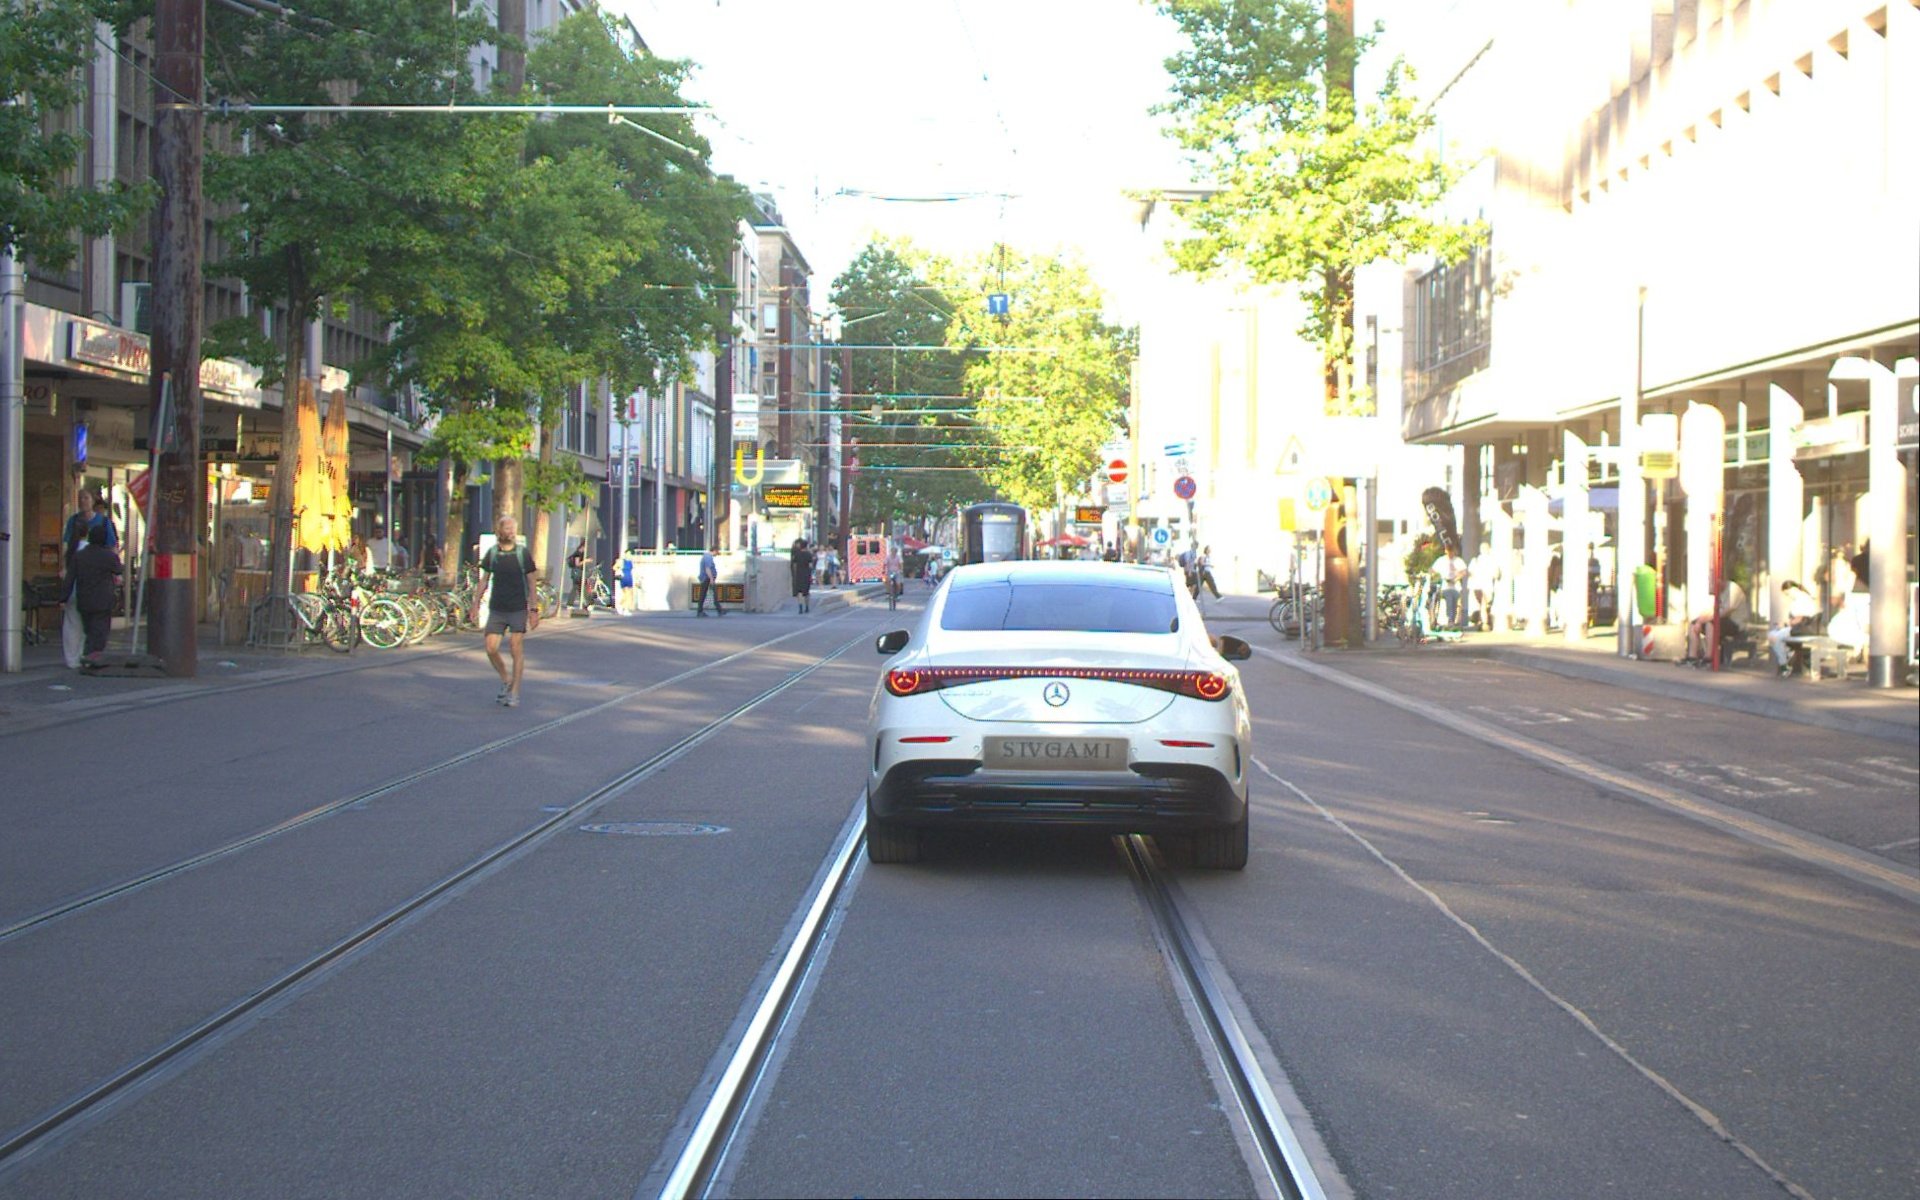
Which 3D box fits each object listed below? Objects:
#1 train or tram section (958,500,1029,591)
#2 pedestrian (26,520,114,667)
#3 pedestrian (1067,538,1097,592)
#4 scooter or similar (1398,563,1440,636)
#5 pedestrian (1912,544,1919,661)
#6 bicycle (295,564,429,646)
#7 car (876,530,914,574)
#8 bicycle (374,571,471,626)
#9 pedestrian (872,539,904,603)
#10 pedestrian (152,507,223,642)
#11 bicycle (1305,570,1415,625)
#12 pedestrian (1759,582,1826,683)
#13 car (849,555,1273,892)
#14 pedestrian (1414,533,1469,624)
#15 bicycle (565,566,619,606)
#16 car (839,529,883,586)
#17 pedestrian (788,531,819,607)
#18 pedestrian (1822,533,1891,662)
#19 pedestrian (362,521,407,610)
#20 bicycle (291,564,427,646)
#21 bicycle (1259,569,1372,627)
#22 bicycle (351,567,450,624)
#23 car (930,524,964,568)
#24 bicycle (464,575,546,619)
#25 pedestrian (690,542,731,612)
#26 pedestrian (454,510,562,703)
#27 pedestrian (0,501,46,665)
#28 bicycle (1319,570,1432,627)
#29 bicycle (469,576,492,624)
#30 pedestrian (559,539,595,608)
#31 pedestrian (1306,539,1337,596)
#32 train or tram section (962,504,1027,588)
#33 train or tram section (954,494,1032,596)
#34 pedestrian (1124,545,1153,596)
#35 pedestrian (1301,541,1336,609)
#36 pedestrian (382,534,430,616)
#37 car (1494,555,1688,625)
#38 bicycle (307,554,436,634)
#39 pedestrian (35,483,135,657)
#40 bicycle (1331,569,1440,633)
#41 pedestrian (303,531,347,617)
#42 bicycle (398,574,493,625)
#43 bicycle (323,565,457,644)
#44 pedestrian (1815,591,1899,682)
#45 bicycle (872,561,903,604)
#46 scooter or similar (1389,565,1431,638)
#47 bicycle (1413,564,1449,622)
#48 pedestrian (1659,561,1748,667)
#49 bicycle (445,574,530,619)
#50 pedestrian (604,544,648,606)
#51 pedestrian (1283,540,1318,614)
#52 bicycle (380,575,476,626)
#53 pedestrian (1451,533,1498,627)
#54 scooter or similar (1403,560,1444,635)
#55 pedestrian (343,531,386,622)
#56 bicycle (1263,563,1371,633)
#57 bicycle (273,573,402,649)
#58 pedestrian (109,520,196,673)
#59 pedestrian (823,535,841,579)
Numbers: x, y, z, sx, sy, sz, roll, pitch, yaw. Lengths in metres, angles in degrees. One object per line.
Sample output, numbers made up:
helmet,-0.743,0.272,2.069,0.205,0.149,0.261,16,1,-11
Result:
train or tram section,1.368,-2.185,138.324,2.694,3.504,12.545,0,1,1
pedestrian,-9.366,-0.074,36.188,0.622,1.504,0.833,3,1,1
pedestrian,4.094,-1.168,115.446,0.960,1.779,0.804,-1,1,0
scooter or similar,8.038,-0.012,60.158,0.527,1.273,0.660,-1,1,-10
pedestrian,12.988,0.041,45.304,0.642,1.536,0.796,1,1,1
bicycle,-8.380,0.069,48.193,1.788,1.073,0.377,2,1,-3
car,-3.663,-2.728,195.127,1.910,2.452,5.275,0,1,1
bicycle,-8.698,-0.025,55.650,1.493,0.838,0.344,2,1,2
pedestrian,-2.015,-0.816,96.366,0.800,1.776,0.849,2,1,0
pedestrian,-10.200,-0.342,45.410,0.622,1.741,0.933,3,1,1
bicycle,8.098,-0.054,69.608,2.113,1.092,0.610,0,0,-10
pedestrian,10.144,0.393,41.908,0.666,1.194,0.784,1,1,6
car,0.470,0.526,17.476,1.857,1.450,4.175,2,1,0
pedestrian,9.532,-0.427,68.072,0.899,1.739,0.689,-3,1,0
bicycle,-9.449,-0.375,88.315,0.719,1.006,2.038,1,1,14
car,-5.073,-2.196,176.369,1.993,2.887,5.275,0,1,1
pedestrian,-4.009,-0.799,88.258,0.540,1.922,0.571,1,1,45
pedestrian,12.235,-0.045,46.932,0.715,1.735,0.835,1,1,1
pedestrian,-11.534,-0.694,68.892,0.785,1.760,0.537,0,1,-23
bicycle,-8.342,0.073,47.731,1.788,1.073,0.377,2,1,-3
bicycle,7.039,-0.041,68.098,2.113,1.092,0.610,1,0,-10
bicycle,-8.892,-0.074,54.625,1.493,0.838,0.344,2,1,2
car,-0.875,-3.554,227.117,2.099,2.887,5.275,0,1,1
bicycle,-8.628,-0.060,65.204,1.493,0.780,0.344,2,1,2
pedestrian,-6.017,-0.560,82.918,0.905,1.693,0.849,1,1,1
pedestrian,-4.334,0.055,33.027,0.841,1.795,0.790,2,1,2
pedestrian,-10.384,-0.195,36.655,0.850,1.735,0.834,3,1,21
bicycle,8.143,-0.032,67.408,2.113,1.092,0.610,0,0,-12
bicycle,-8.079,-0.004,57.934,0.343,0.780,1.405,2,1,-7
pedestrian,-9.669,-0.668,86.831,0.837,1.711,0.785,0,1,-1
pedestrian,10.797,-0.973,102.692,0.817,1.679,0.804,-1,1,0
train or tram section,1.510,-2.355,150.163,2.694,3.504,11.143,0,1,1
train or tram section,1.210,-2.000,125.772,2.694,3.504,12.545,0,1,1
pedestrian,6.343,-1.058,122.036,0.960,1.779,0.804,-1,1,0
pedestrian,9.531,-0.658,91.422,0.841,1.779,0.804,-1,1,0
pedestrian,-12.007,-0.543,74.514,0.723,1.755,0.818,0,1,-34
car,13.591,-0.227,74.155,3.801,1.468,1.649,0,1,-4
bicycle,-8.890,-0.090,51.934,1.846,1.137,0.377,2,1,2
pedestrian,-10.000,-0.348,39.317,0.800,1.917,1.071,3,1,-2
bicycle,7.960,0.012,64.285,1.908,1.152,0.610,-1,1,-10
pedestrian,-11.526,-0.477,62.385,0.714,1.542,0.685,0,1,-5
bicycle,-8.534,-0.013,57.019,1.493,0.780,0.344,2,1,2
bicycle,-8.194,0.063,49.441,1.846,1.073,0.377,2,1,-3
pedestrian,10.566,0.424,40.517,0.836,1.027,0.696,1,1,6
bicycle,-2.026,-0.503,96.362,0.800,1.138,2.257,2,1,-1
scooter or similar,7.966,0.015,60.837,0.527,1.273,0.660,-1,1,-10
bicycle,9.311,-0.144,67.993,0.564,1.124,1.929,-1,1,4
pedestrian,9.814,0.179,45.407,0.833,1.372,0.778,1,1,-22
bicycle,-8.779,-0.065,63.900,1.493,0.780,0.344,2,1,2
pedestrian,-8.155,-0.606,83.873,0.955,1.491,0.944,1,1,1
pedestrian,8.286,-0.567,83.752,0.748,1.779,0.767,-1,1,0
bicycle,-8.719,0.013,56.397,1.493,0.780,0.344,2,1,2
pedestrian,10.167,-0.402,67.949,0.701,1.806,1.033,-3,1,0
scooter or similar,8.015,-0.044,59.479,0.491,1.273,0.660,-1,1,-10
pedestrian,-10.811,-0.424,62.432,0.714,1.634,0.685,0,1,-5
bicycle,6.763,-0.046,65.117,1.908,1.277,0.610,-1,1,-10
bicycle,-8.125,0.146,44.880,1.596,0.927,0.377,2,1,8
pedestrian,-8.434,-0.043,35.918,0.622,1.545,0.852,3,1,1
pedestrian,-4.702,-1.590,126.368,0.660,1.593,0.573,0,1,0
